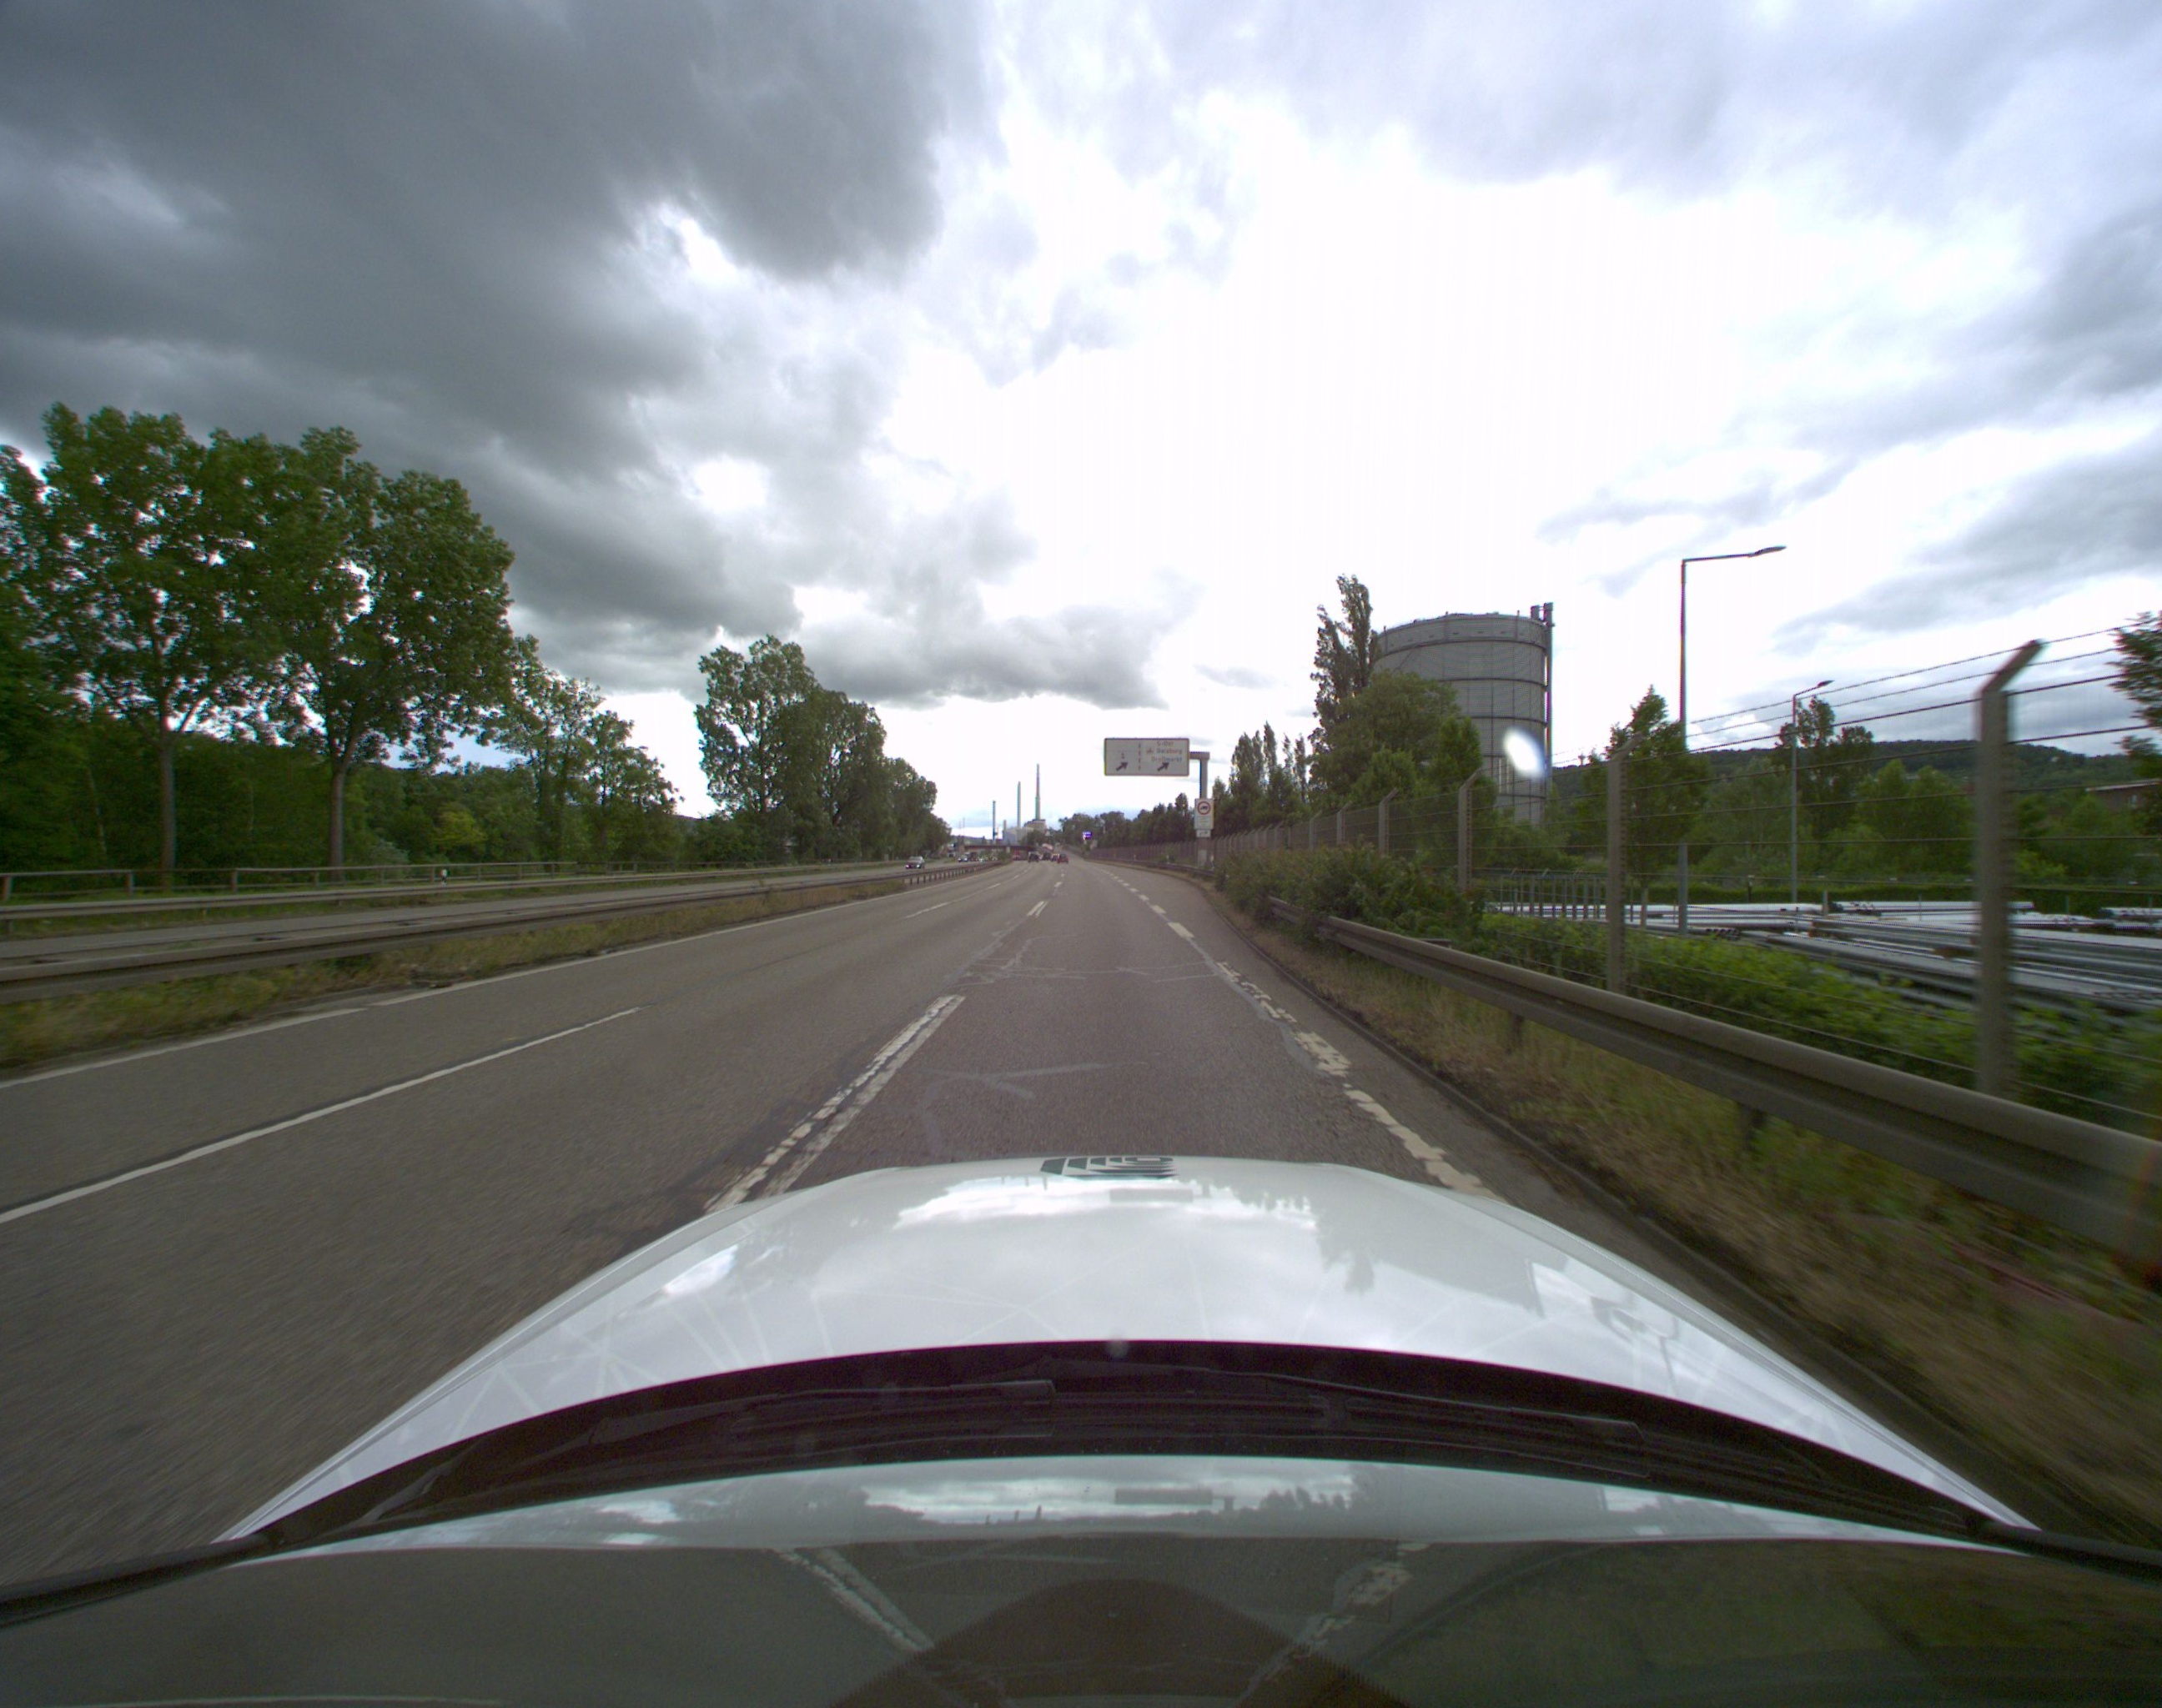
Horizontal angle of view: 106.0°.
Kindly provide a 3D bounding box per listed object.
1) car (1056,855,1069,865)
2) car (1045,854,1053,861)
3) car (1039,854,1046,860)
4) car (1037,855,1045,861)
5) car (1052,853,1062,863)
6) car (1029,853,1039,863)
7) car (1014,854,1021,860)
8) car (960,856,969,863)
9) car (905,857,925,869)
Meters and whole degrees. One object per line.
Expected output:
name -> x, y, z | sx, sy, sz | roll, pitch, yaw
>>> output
car -> -2.989, 0.971, 129.187 | 1.969, 1.423, 4.896 | -1, 0, -2
car -> -7.655, 0.800, 196.284 | 1.694, 1.555, 4.392 | -1, 0, -4
car -> -10.283, 0.800, 217.989 | 1.695, 1.555, 4.390 | -1, 0, -5
car -> -8.847, 0.926, 180.508 | 1.694, 1.389, 4.392 | -1, 0, -4
car -> -4.671, 0.739, 156.685 | 1.694, 1.742, 4.387 | -1, 0, -4
car -> -8.502, 0.675, 147.511 | 1.694, 1.742, 3.994 | -1, 0, -4
car -> -18.235, 0.920, 234.185 | 1.697, 1.742, 4.380 | -1, 0, -8
car -> -24.754, 1.204, 172.965 | 1.695, 1.413, 4.630 | -1, 0, -5
car -> -20.231, 1.048, 99.437 | 1.694, 1.413, 4.631 | -1, 0, -4
